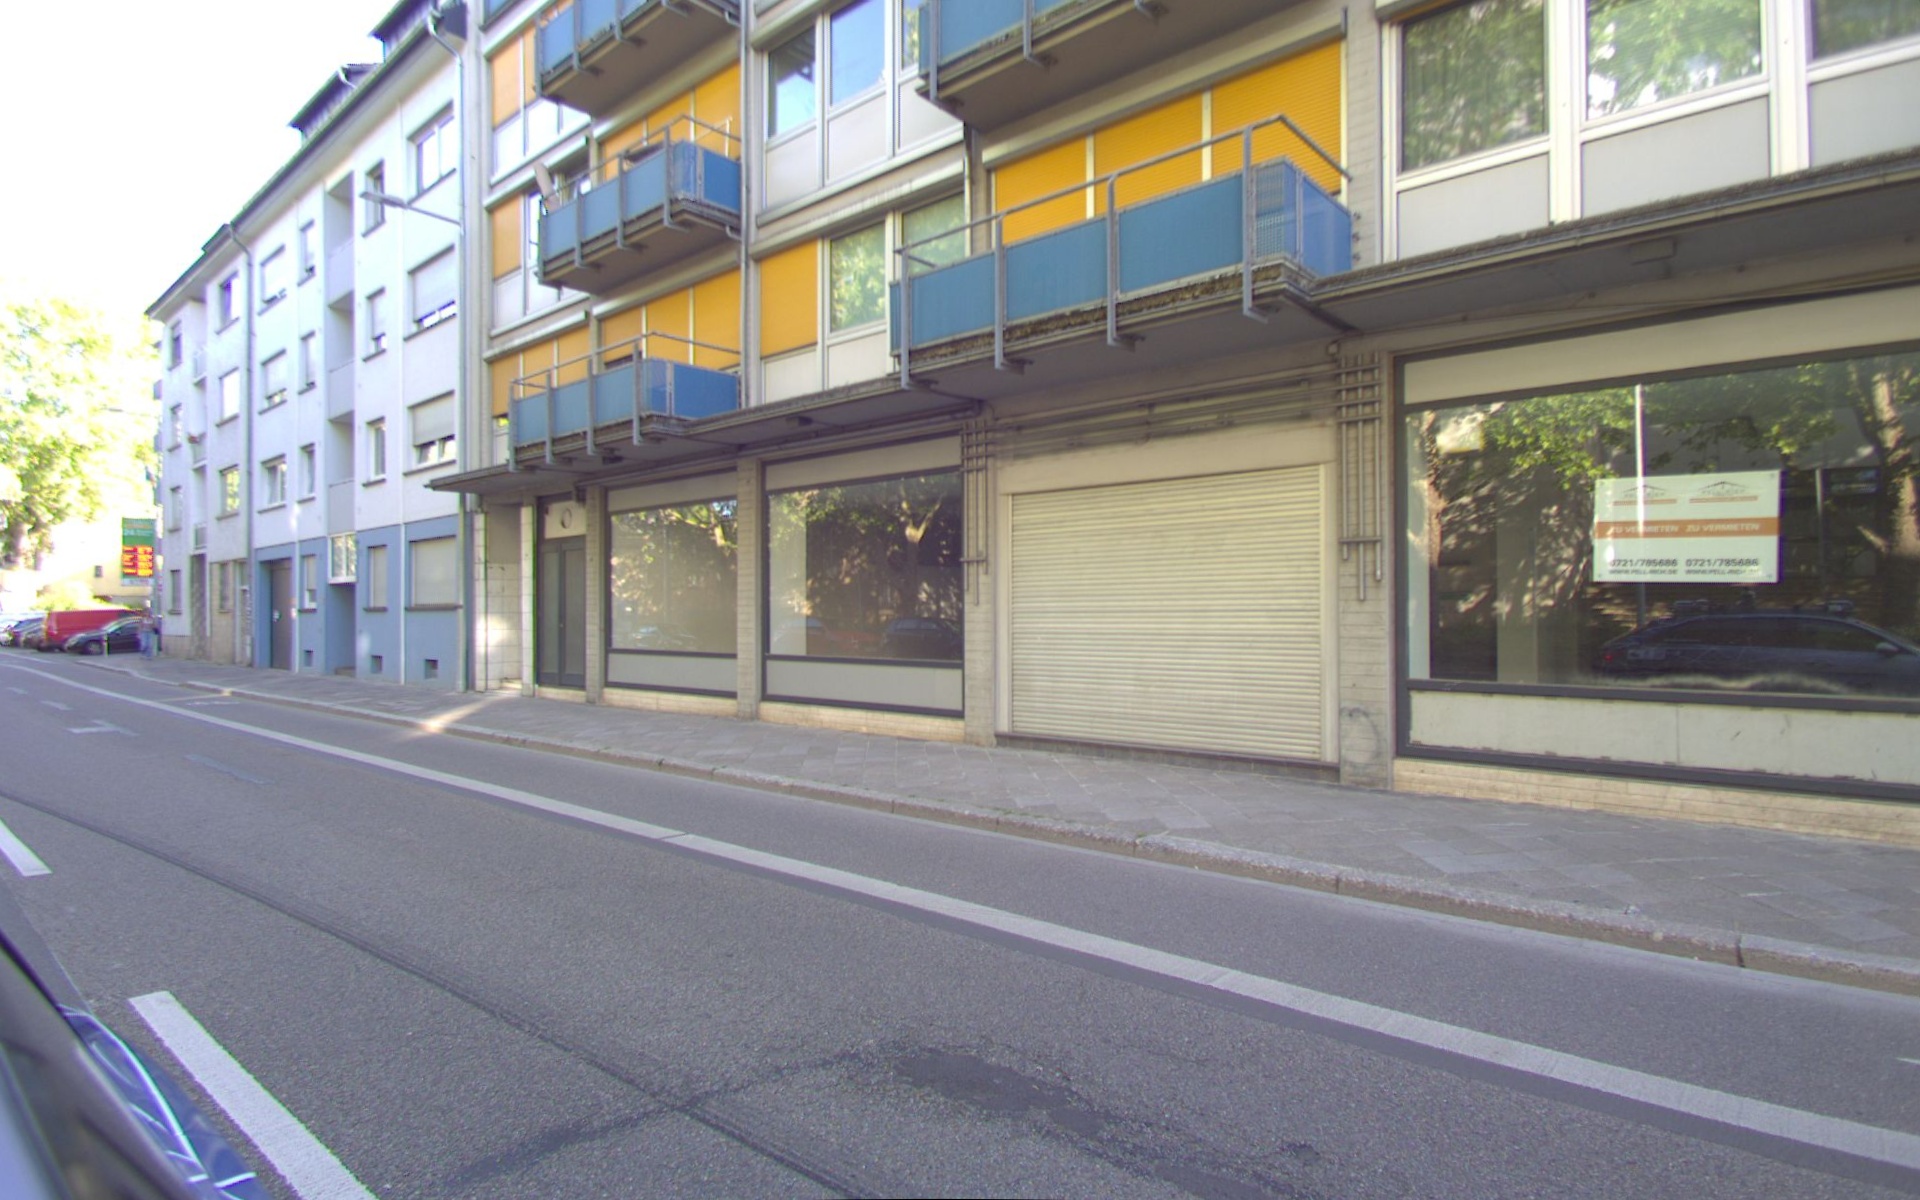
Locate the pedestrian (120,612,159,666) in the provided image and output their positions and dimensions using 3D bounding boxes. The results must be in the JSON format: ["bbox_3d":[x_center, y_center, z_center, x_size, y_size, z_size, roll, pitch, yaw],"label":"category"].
[{"bbox_3d":[-27.570,1.293,34.005,0.741,1.785,0.884,-1,0,41],"label":"pedestrian"}]

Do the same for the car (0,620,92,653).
[{"bbox_3d":[-50.822,1.981,55.974,1.699,1.640,3.952,-1,0,35],"label":"car"}]

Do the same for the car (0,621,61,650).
[{"bbox_3d":[-55.067,2.073,59.007,1.715,1.594,3.660,-1,0,35],"label":"car"}]

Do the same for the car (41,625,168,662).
[{"bbox_3d":[-36.887,1.835,43.717,1.780,1.404,3.947,-1,0,39],"label":"car"}]

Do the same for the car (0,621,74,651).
[{"bbox_3d":[-52.883,2.029,57.478,1.656,1.599,3.615,-1,0,35],"label":"car"}]

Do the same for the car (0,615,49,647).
[{"bbox_3d":[-59.759,1.959,63.841,1.693,1.953,3.224,-1,0,43],"label":"car"}]

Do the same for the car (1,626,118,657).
[{"bbox_3d":[-43.218,1.976,48.633,1.904,1.282,3.983,-1,0,39],"label":"car"}]

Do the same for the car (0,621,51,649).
[{"bbox_3d":[-56.888,2.114,60.400,1.740,1.600,3.685,-1,0,35],"label":"car"}]

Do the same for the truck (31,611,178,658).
[{"bbox_3d":[-40.350,1.576,47.843,1.998,2.036,5.024,-1,0,40],"label":"truck"}]
